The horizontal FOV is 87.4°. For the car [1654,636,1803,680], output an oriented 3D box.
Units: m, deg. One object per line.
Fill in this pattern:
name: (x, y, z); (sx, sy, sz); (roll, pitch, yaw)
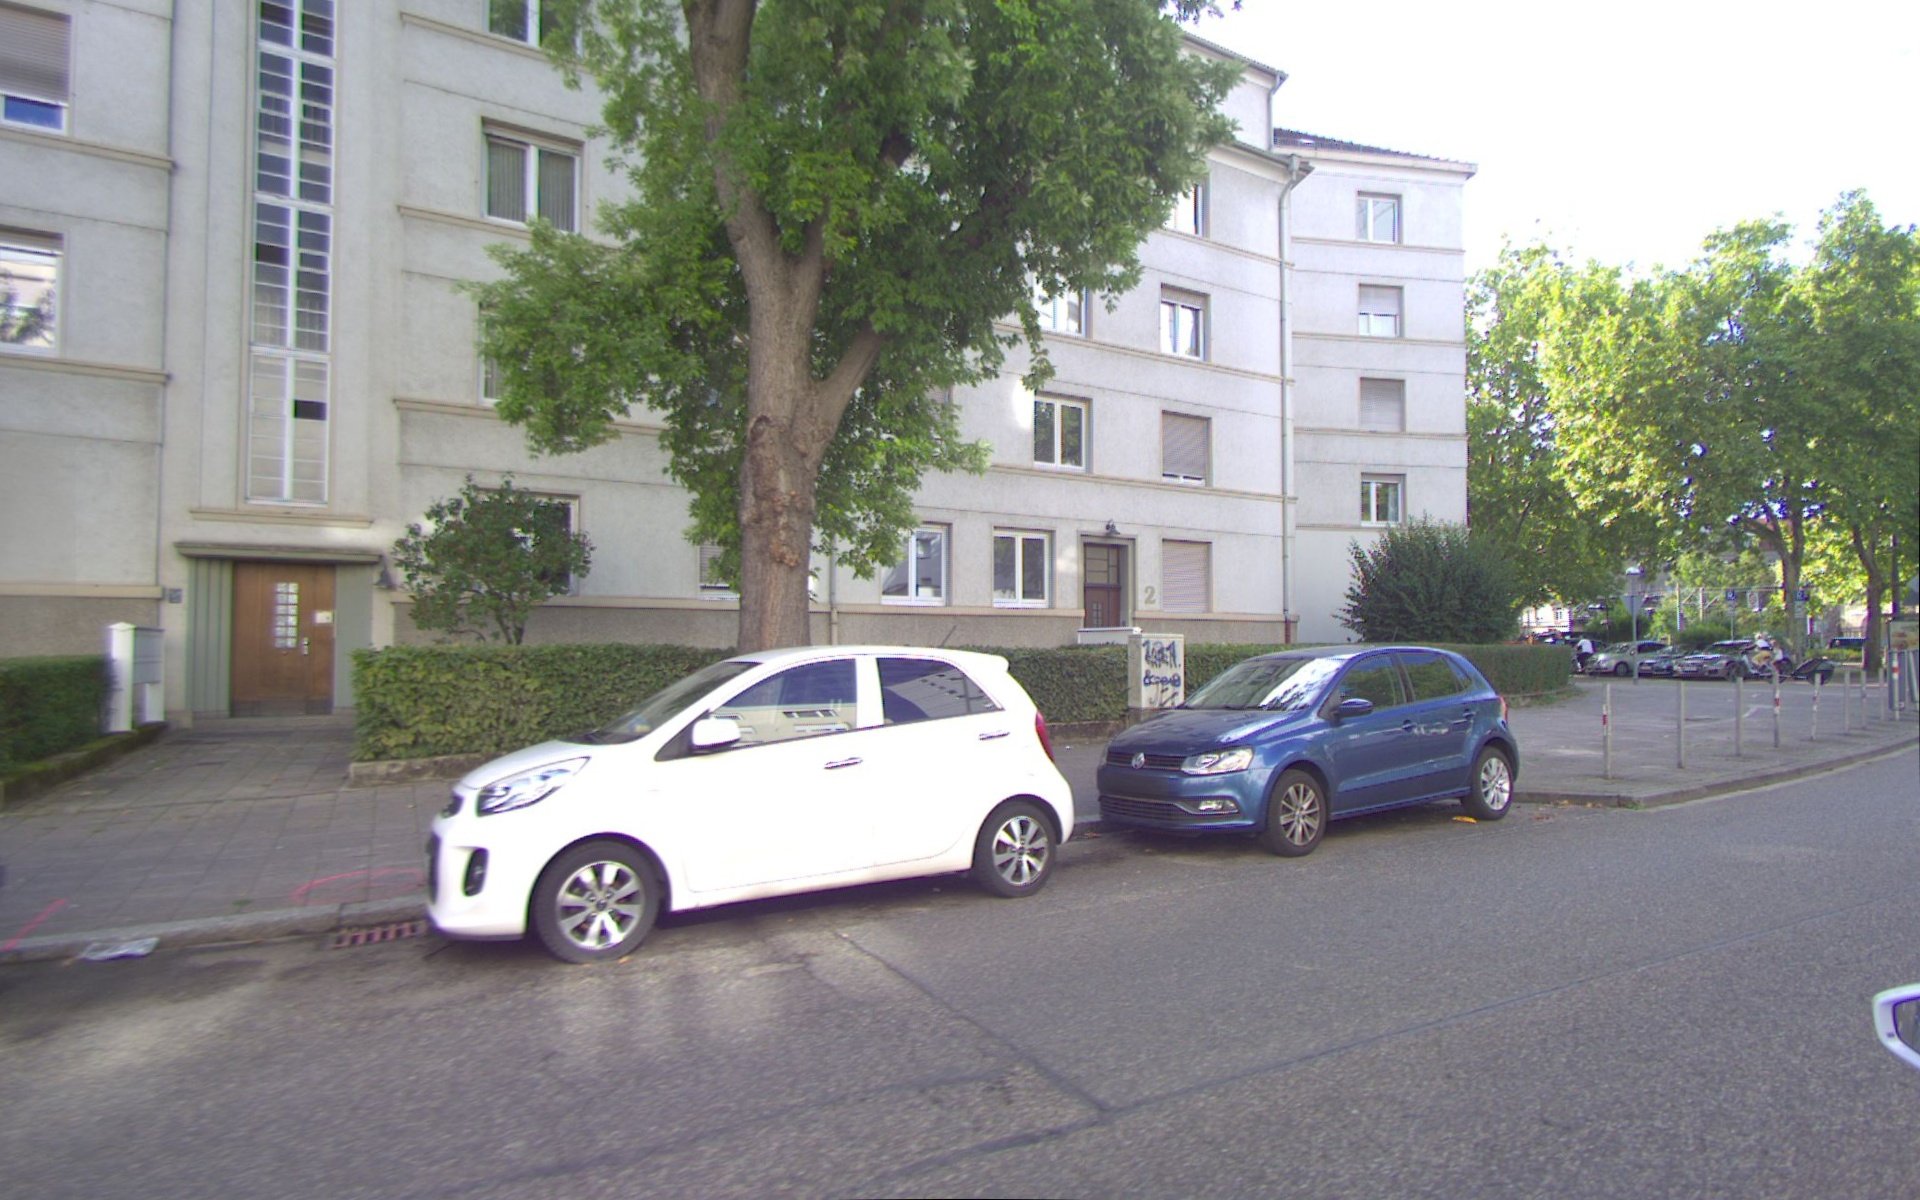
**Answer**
car: (29.689, 2.228, 38.838); (4.897, 1.606, 2.232); (1, -3, -19)

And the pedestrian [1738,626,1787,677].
pedestrian: (26.842, 1.729, 33.603); (0.807, 1.676, 1.066); (1, -3, -34)

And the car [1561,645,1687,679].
car: (28.743, 2.668, 43.526); (4.753, 1.395, 1.669); (0, -3, -12)

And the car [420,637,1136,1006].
car: (-1.027, 1.024, 5.899); (3.757, 1.512, 1.792); (1, -5, -29)

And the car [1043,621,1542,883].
car: (2.726, 1.064, 8.108); (3.760, 1.641, 1.791); (1, -5, -32)

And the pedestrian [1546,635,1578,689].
pedestrian: (18.139, 1.853, 30.258); (0.720, 1.599, 0.732); (-1, -3, 26)

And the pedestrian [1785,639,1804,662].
pedestrian: (47.984, 2.908, 57.769); (0.711, 1.305, 0.816); (1, -1, 31)

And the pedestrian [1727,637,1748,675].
pedestrian: (35.775, 2.554, 46.226); (0.698, 1.738, 0.498); (1, -3, -32)

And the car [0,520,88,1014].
car: (-5.642, 0.639, 3.094); (4.143, 1.906, 1.715); (1, -4, -31)

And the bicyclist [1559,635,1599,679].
bicyclist: (24.475, 2.228, 39.714); (0.800, 1.714, 1.112); (0, -2, -9)

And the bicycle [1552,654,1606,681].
bicycle: (24.450, 2.649, 39.721); (0.749, 1.007, 1.924); (0, -2, -9)

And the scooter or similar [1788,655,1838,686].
scooter or similar: (27.530, 2.265, 32.431); (0.799, 0.935, 1.006); (1, -3, -31)
